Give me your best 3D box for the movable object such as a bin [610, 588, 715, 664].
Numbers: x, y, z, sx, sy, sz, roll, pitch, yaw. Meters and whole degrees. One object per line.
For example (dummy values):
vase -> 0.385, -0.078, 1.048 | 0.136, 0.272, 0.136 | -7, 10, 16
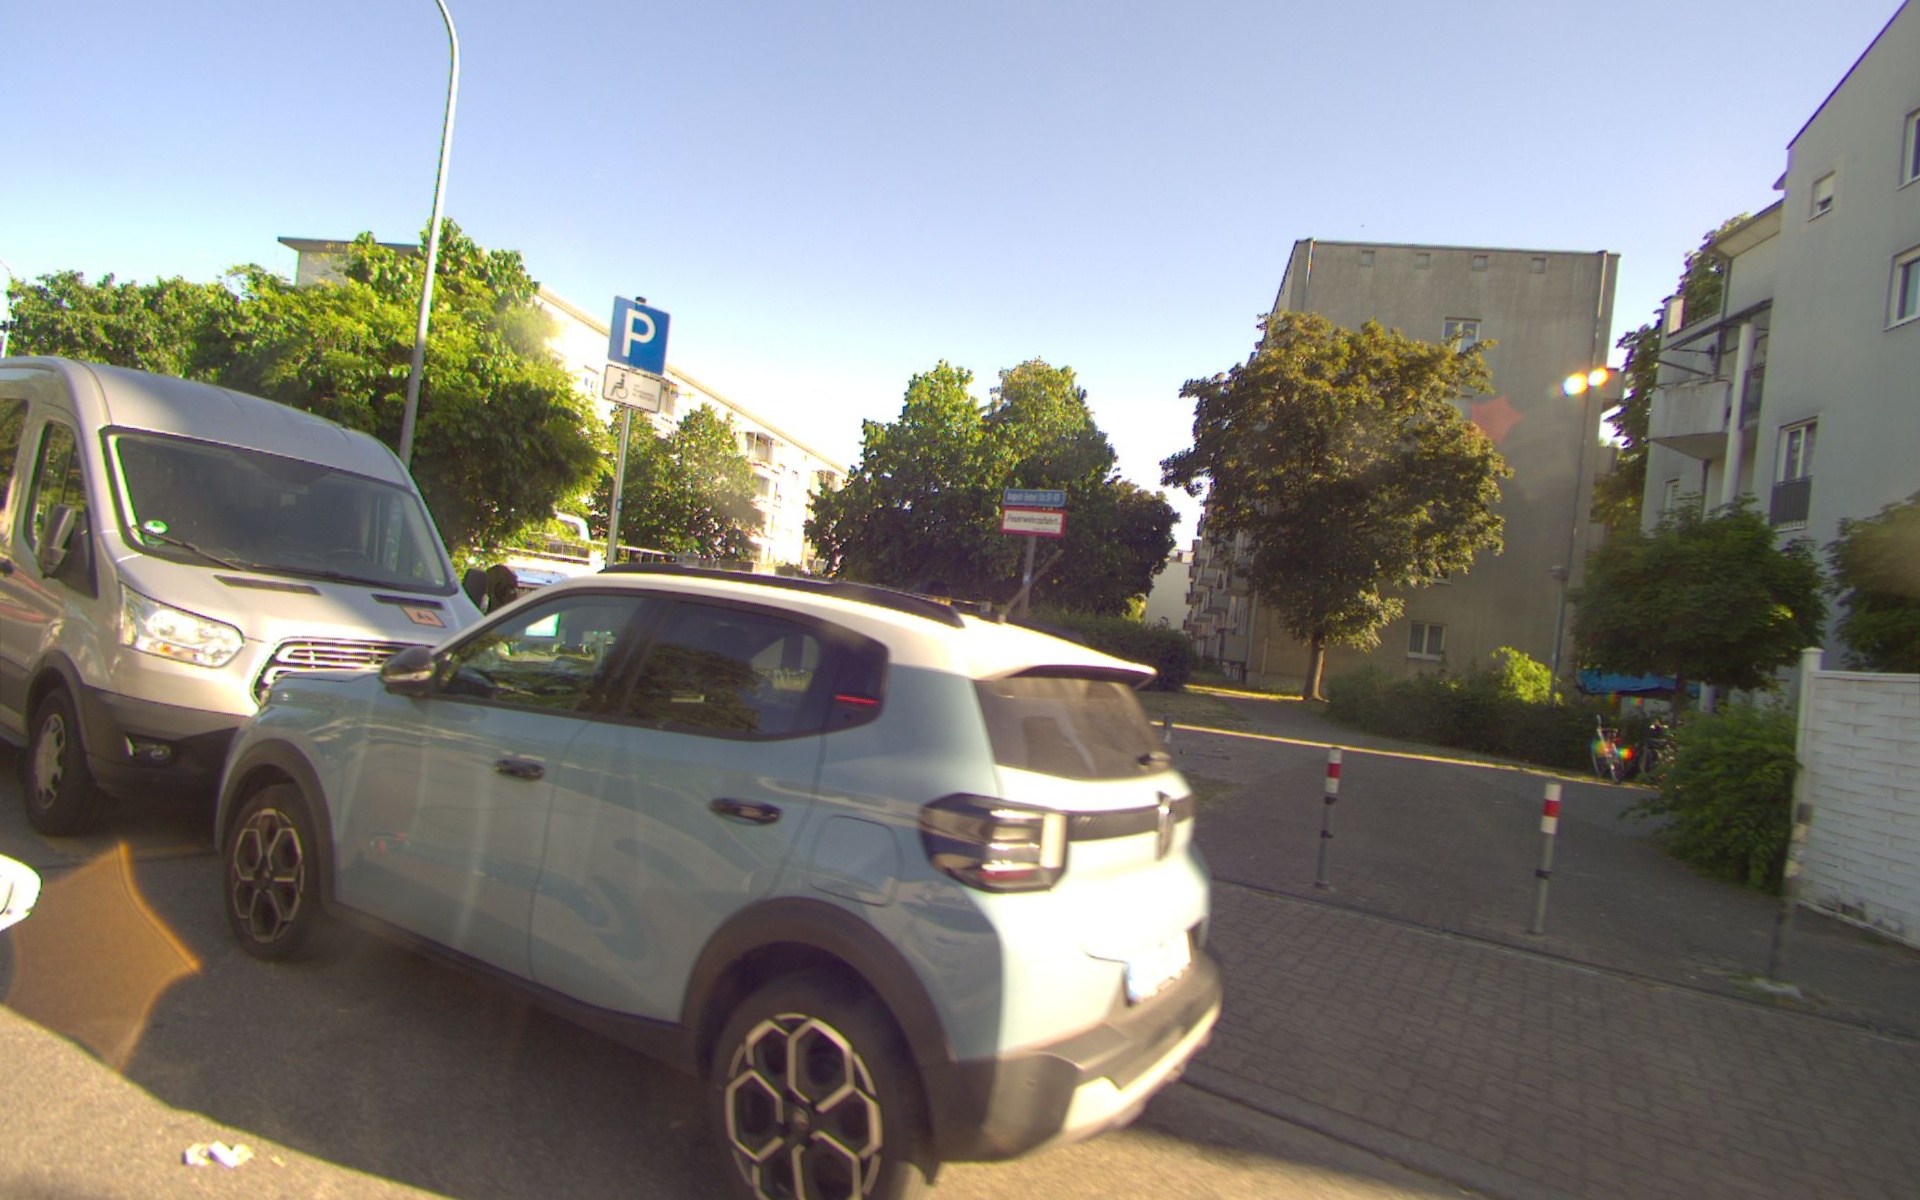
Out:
movable object such as a bin -> -5.971, 0.527, 20.230 | 1.362, 1.321, 1.411 | 6, 0, 39

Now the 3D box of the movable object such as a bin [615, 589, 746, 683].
movable object such as a bin -> -4.509, 0.594, 16.274 | 1.362, 1.321, 1.411 | 6, 0, 39

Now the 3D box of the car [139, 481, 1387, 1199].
car -> -0.922, 0.623, 3.778 | 4.302, 1.686, 1.913 | 6, -1, 31

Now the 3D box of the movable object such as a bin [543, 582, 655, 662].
movable object such as a bin -> -6.840, 0.426, 19.083 | 1.362, 1.321, 1.411 | 6, 0, 39

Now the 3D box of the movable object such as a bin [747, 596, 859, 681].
movable object such as a bin -> -2.914, 0.723, 18.718 | 1.362, 1.391, 1.425 | 6, 0, 39

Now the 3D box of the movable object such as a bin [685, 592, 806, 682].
movable object such as a bin -> -3.730, 0.649, 17.497 | 1.362, 1.391, 1.425 | 6, 0, 39

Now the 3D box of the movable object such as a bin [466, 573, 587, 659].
movable object such as a bin -> -7.730, 0.292, 17.942 | 1.362, 1.321, 1.411 | 6, 0, 39

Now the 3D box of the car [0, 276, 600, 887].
car -> -5.207, -0.204, 6.609 | 5.762, 2.514, 2.108 | 6, -2, 34
